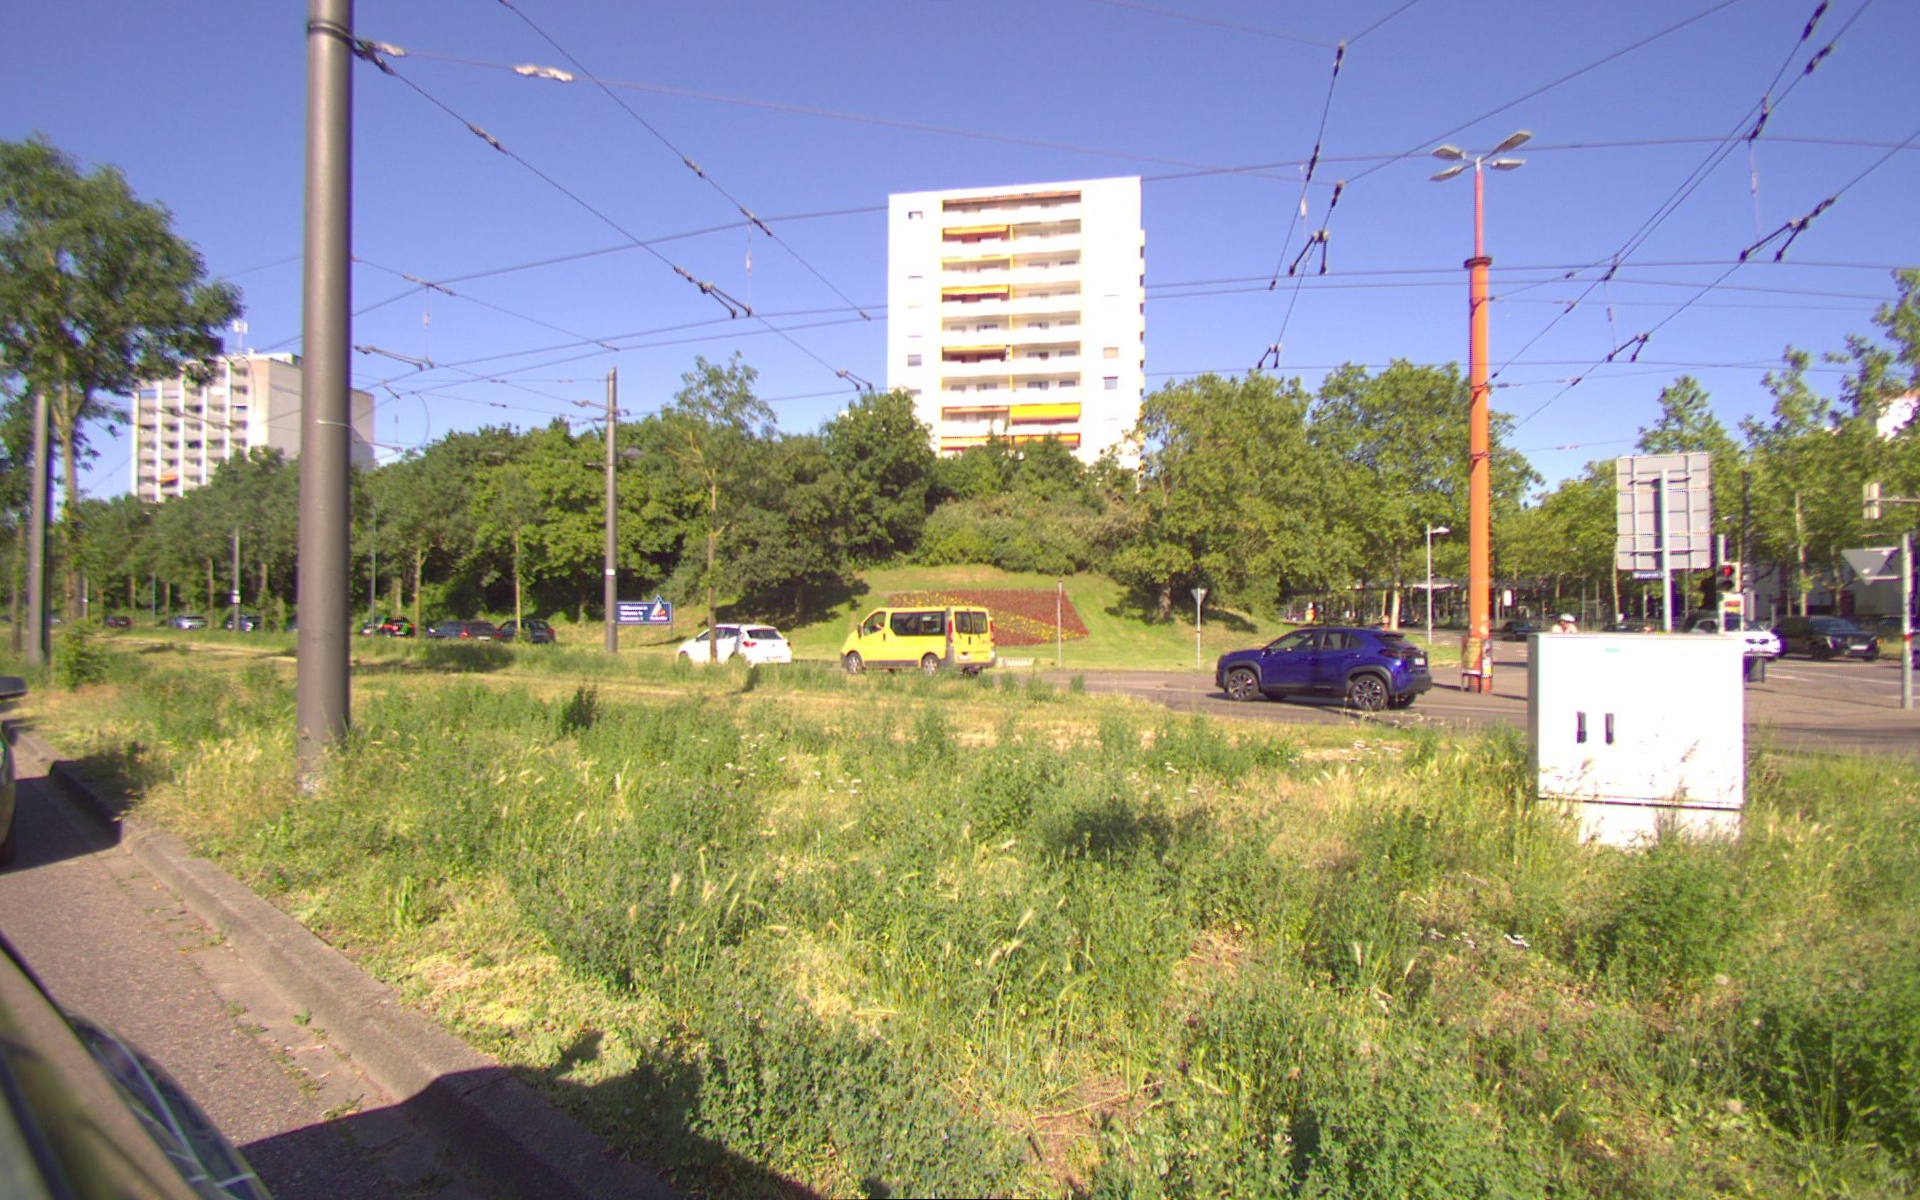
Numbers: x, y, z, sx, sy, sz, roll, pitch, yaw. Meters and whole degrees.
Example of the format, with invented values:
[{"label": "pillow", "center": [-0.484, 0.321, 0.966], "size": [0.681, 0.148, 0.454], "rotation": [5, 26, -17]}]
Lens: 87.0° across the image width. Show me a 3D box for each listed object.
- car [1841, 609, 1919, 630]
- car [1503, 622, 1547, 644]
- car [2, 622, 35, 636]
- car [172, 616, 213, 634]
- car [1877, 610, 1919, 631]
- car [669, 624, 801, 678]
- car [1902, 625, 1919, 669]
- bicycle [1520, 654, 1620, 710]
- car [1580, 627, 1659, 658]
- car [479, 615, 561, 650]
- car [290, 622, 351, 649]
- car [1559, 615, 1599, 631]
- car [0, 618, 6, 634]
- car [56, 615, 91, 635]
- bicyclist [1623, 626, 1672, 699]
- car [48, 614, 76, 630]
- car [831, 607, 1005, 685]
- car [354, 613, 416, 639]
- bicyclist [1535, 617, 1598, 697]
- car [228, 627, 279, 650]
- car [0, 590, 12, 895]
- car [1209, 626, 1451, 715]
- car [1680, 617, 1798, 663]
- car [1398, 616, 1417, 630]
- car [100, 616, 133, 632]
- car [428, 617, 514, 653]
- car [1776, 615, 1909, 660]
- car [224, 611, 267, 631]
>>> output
[{"label": "car", "center": [65.886, 1.383, 72.379], "size": [1.770, 1.420, 4.010], "rotation": [1, -1, -36]}, {"label": "car", "center": [36.804, 2.110, 66.011], "size": [1.752, 1.360, 4.334], "rotation": [-1, -1, 20]}, {"label": "car", "center": [-115.236, 3.516, 123.815], "size": [3.984, 1.674, 1.891], "rotation": [-1, -2, 30]}, {"label": "car", "center": [-63.512, 2.065, 83.708], "size": [3.998, 1.497, 1.972], "rotation": [-1, -2, 41]}, {"label": "car", "center": [64.898, 1.404, 68.397], "size": [1.770, 1.420, 4.010], "rotation": [1, -1, -36]}, {"label": "car", "center": [-6.491, 1.424, 28.990], "size": [4.020, 1.418, 1.671], "rotation": [-2, -2, 42]}, {"label": "car", "center": [30.114, 1.419, 29.736], "size": [1.470, 1.356, 3.990], "rotation": [0, -2, 8]}, {"label": "bicycle", "center": [12.192, 1.616, 20.280], "size": [0.673, 0.968, 1.650], "rotation": [0, 0, -20]}, {"label": "car", "center": [31.359, 1.969, 48.267], "size": [1.748, 1.360, 4.345], "rotation": [0, -1, 13]}, {"label": "car", "center": [-19.897, 1.455, 45.661], "size": [4.238, 1.519, 1.769], "rotation": [-1, -2, 41]}, {"label": "car", "center": [-34.474, 1.889, 54.506], "size": [4.000, 1.429, 1.842], "rotation": [-1, -2, 43]}, {"label": "car", "center": [79.743, 2.999, 130.479], "size": [3.969, 2.029, 1.987], "rotation": [-1, -1, 20]}, {"label": "car", "center": [-108.483, 2.906, 113.412], "size": [3.998, 1.779, 1.858], "rotation": [-1, -2, 41]}, {"label": "car", "center": [-81.574, 2.274, 93.108], "size": [3.998, 1.779, 1.858], "rotation": [-1, -2, 41]}, {"label": "bicyclist", "center": [13.425, 1.210, 19.768], "size": [0.435, 1.391, 0.631], "rotation": [0, -2, -20]}, {"label": "car", "center": [-101.319, 2.498, 114.154], "size": [3.998, 1.779, 1.858], "rotation": [-1, -2, 41]}, {"label": "car", "center": [-1.253, 1.265, 28.379], "size": [4.905, 1.981, 1.972], "rotation": [-2, -3, 42]}, {"label": "car", "center": [-32.327, 1.452, 56.887], "size": [3.999, 1.429, 1.843], "rotation": [-1, -2, 42]}, {"label": "bicyclist", "center": [12.146, 1.128, 20.280], "size": [0.719, 1.557, 0.770], "rotation": [0, -2, -20]}, {"label": "car", "center": [-44.566, 2.382, 63.819], "size": [4.229, 1.371, 1.801], "rotation": [-1, -2, 43]}, {"label": "car", "center": [-7.151, 0.781, 6.083], "size": [3.879, 1.634, 1.737], "rotation": [-1, -2, 41]}, {"label": "car", "center": [7.306, 1.309, 20.172], "size": [4.105, 1.586, 1.973], "rotation": [-1, -2, 41]}, {"label": "car", "center": [29.334, 1.467, 38.279], "size": [1.809, 1.648, 4.237], "rotation": [0, -1, 11]}, {"label": "car", "center": [54.949, 2.792, 124.276], "size": [1.838, 1.721, 4.277], "rotation": [-1, -2, 21]}, {"label": "car", "center": [-80.060, 2.268, 96.054], "size": [3.998, 1.475, 1.779], "rotation": [-1, -2, 41]}, {"label": "car", "center": [-20.388, 1.427, 42.134], "size": [4.310, 1.427, 1.775], "rotation": [-1, -2, 43]}, {"label": "car", "center": [32.084, 1.346, 36.965], "size": [1.840, 1.557, 4.243], "rotation": [-1, -1, 14]}, {"label": "car", "center": [-52.256, 1.536, 74.011], "size": [4.000, 1.409, 1.822], "rotation": [-1, -2, 43]}]
